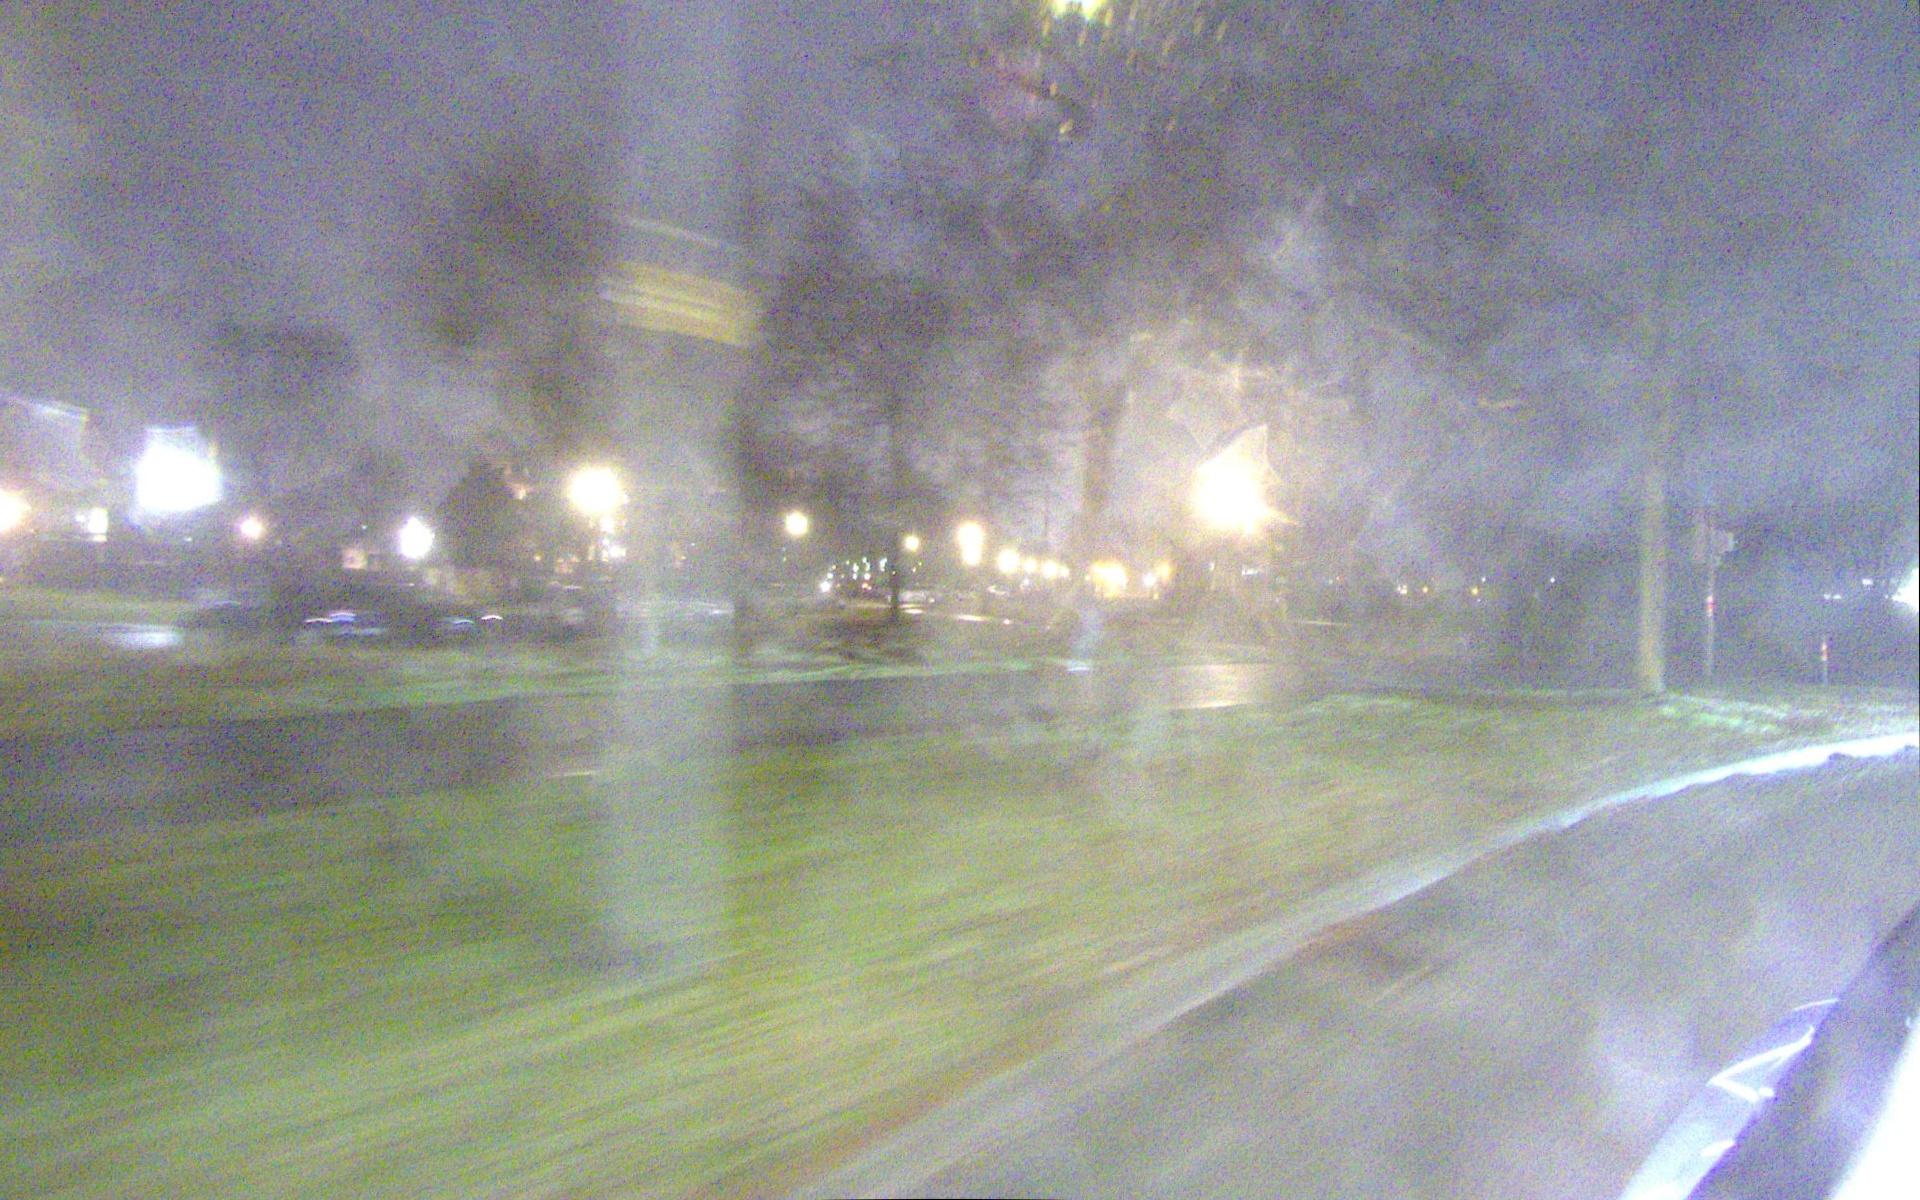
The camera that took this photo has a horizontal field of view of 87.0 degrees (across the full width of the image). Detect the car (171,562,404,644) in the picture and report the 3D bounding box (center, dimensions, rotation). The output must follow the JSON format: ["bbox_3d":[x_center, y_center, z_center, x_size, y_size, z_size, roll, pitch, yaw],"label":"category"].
[{"bbox_3d":[-13.596,0.050,20.531,3.850,1.516,1.716,1,0,11],"label":"car"}]

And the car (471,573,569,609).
[{"bbox_3d":[-20.172,-0.411,46.467,3.850,1.556,1.716,1,0,11],"label":"car"}]

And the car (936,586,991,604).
[{"bbox_3d":[0.323,-0.483,95.434,4.917,1.556,1.716,1,0,11],"label":"car"}]

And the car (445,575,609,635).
[{"bbox_3d":[-11.871,0.137,27.843,3.850,1.516,1.716,1,0,11],"label":"car"}]

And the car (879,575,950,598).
[{"bbox_3d":[-3.329,-0.952,73.817,4.917,1.556,1.716,1,0,11],"label":"car"}]

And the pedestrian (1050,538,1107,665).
[{"bbox_3d":[1.840,0.024,15.742,0.714,1.926,0.655,1,-1,-6],"label":"pedestrian"}]

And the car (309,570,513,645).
[{"bbox_3d":[-12.388,0.166,22.919,3.850,1.515,1.716,-2,0,11],"label":"car"}]

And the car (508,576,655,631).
[{"bbox_3d":[-11.424,0.102,30.664,3.850,1.556,1.716,1,0,11],"label":"car"}]

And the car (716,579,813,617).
[{"bbox_3d":[-8.583,-0.100,44.530,3.850,1.556,1.716,1,0,11],"label":"car"}]

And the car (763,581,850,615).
[{"bbox_3d":[-7.519,-0.105,49.564,3.850,1.556,1.716,1,0,11],"label":"car"}]

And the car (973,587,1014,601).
[{"bbox_3d":[3.503,-0.609,106.563,4.084,1.392,1.716,1,0,11],"label":"car"}]
